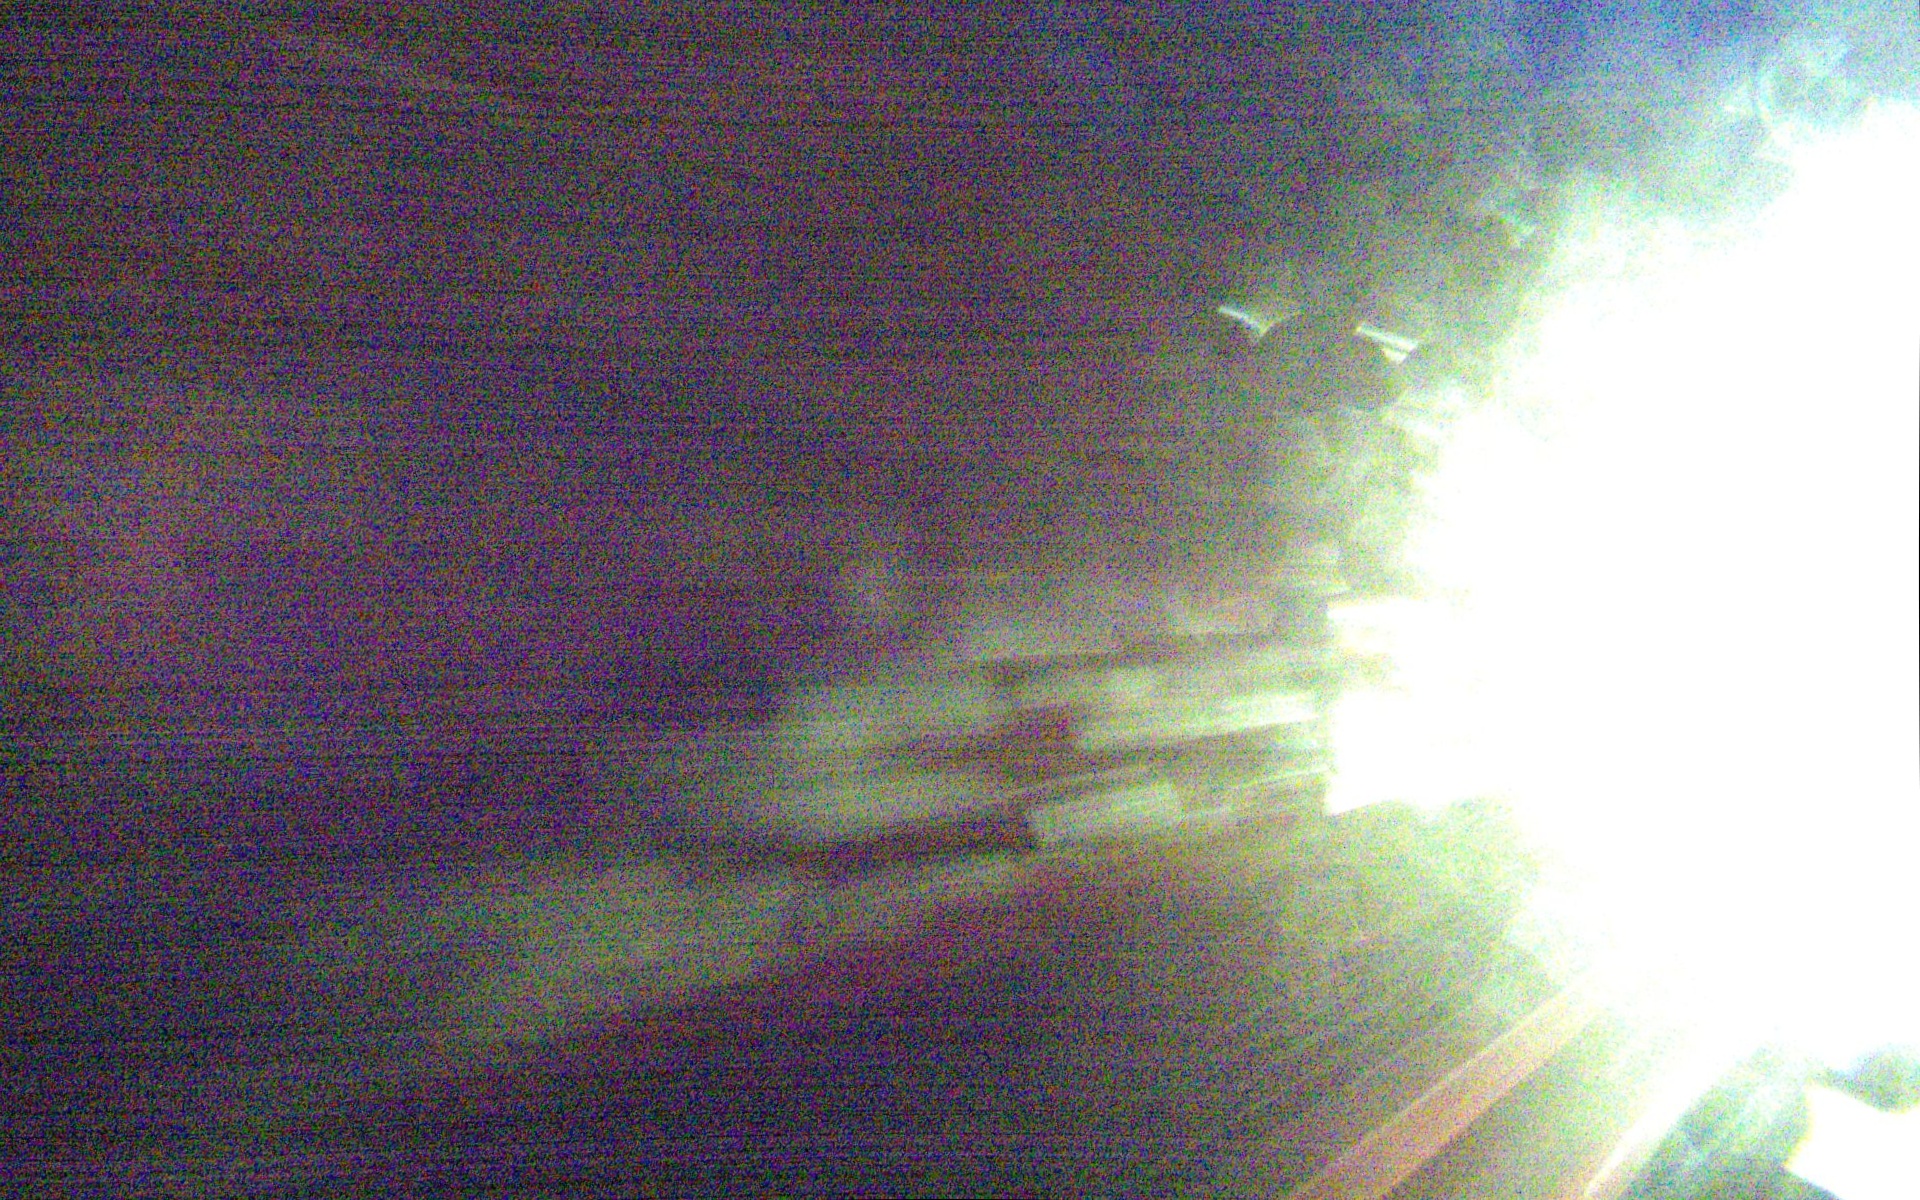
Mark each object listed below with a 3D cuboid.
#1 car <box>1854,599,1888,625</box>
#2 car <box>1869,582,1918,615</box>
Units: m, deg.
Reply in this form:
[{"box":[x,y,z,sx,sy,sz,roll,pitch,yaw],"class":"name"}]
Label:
[{"box":[76.480,0.992,84.982,1.991,2.038,3.942,1,2,41],"class":"car"},{"box":[53.983,-0.119,58.563,1.700,1.794,3.946,1,2,38],"class":"car"}]
